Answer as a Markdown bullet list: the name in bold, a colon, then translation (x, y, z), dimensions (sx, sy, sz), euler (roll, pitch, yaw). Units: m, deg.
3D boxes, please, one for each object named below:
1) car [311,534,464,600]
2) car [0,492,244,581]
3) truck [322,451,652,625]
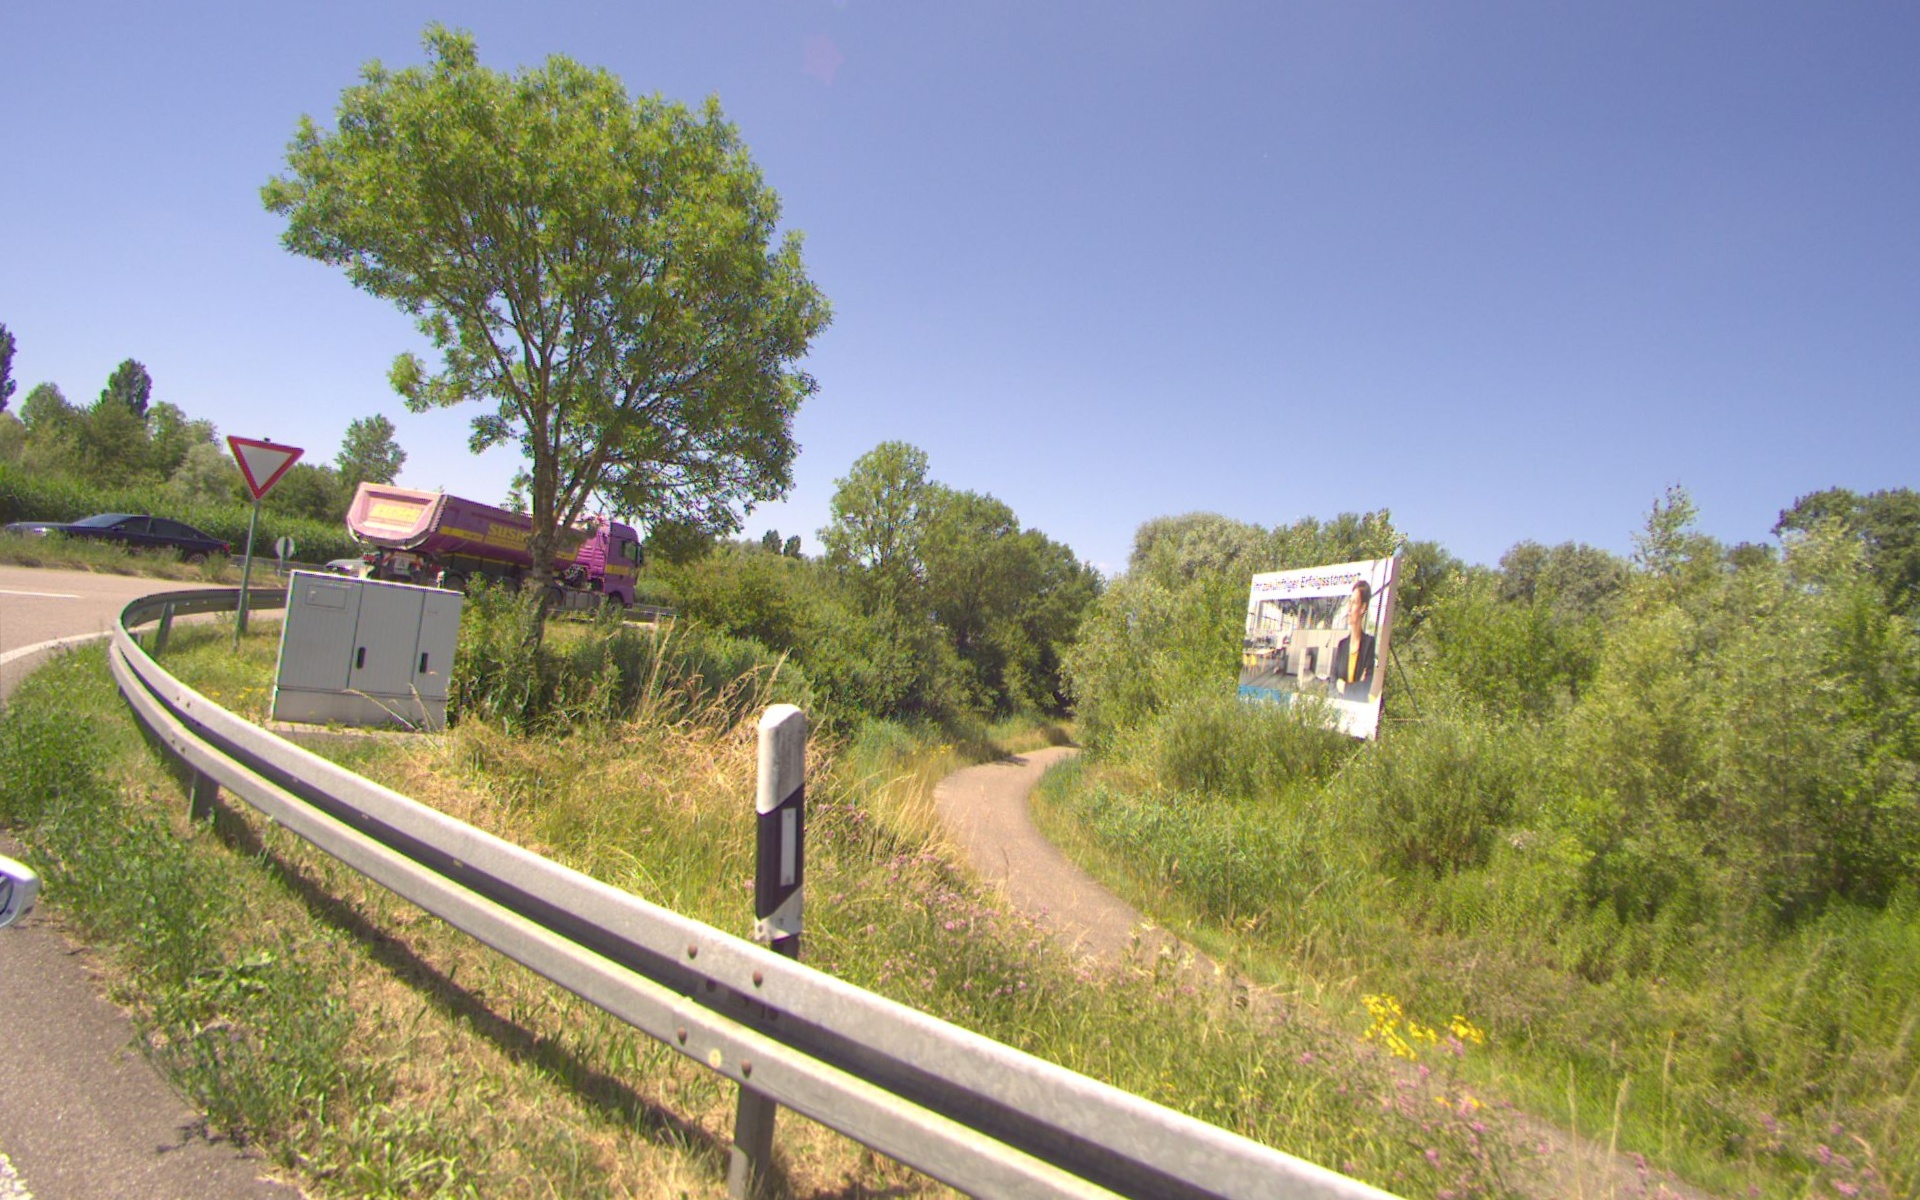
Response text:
- **car**: translation (-19.584, -1.080, 34.635), dimensions (1.898, 1.651, 4.240), euler (7, -1, 21)
- **car**: translation (-22.665, -1.644, 27.281), dimensions (1.898, 1.651, 4.943), euler (7, -1, 21)
- **truck**: translation (-13.825, -1.448, 31.387), dimensions (2.788, 3.866, 11.896), euler (7, -1, 9)
